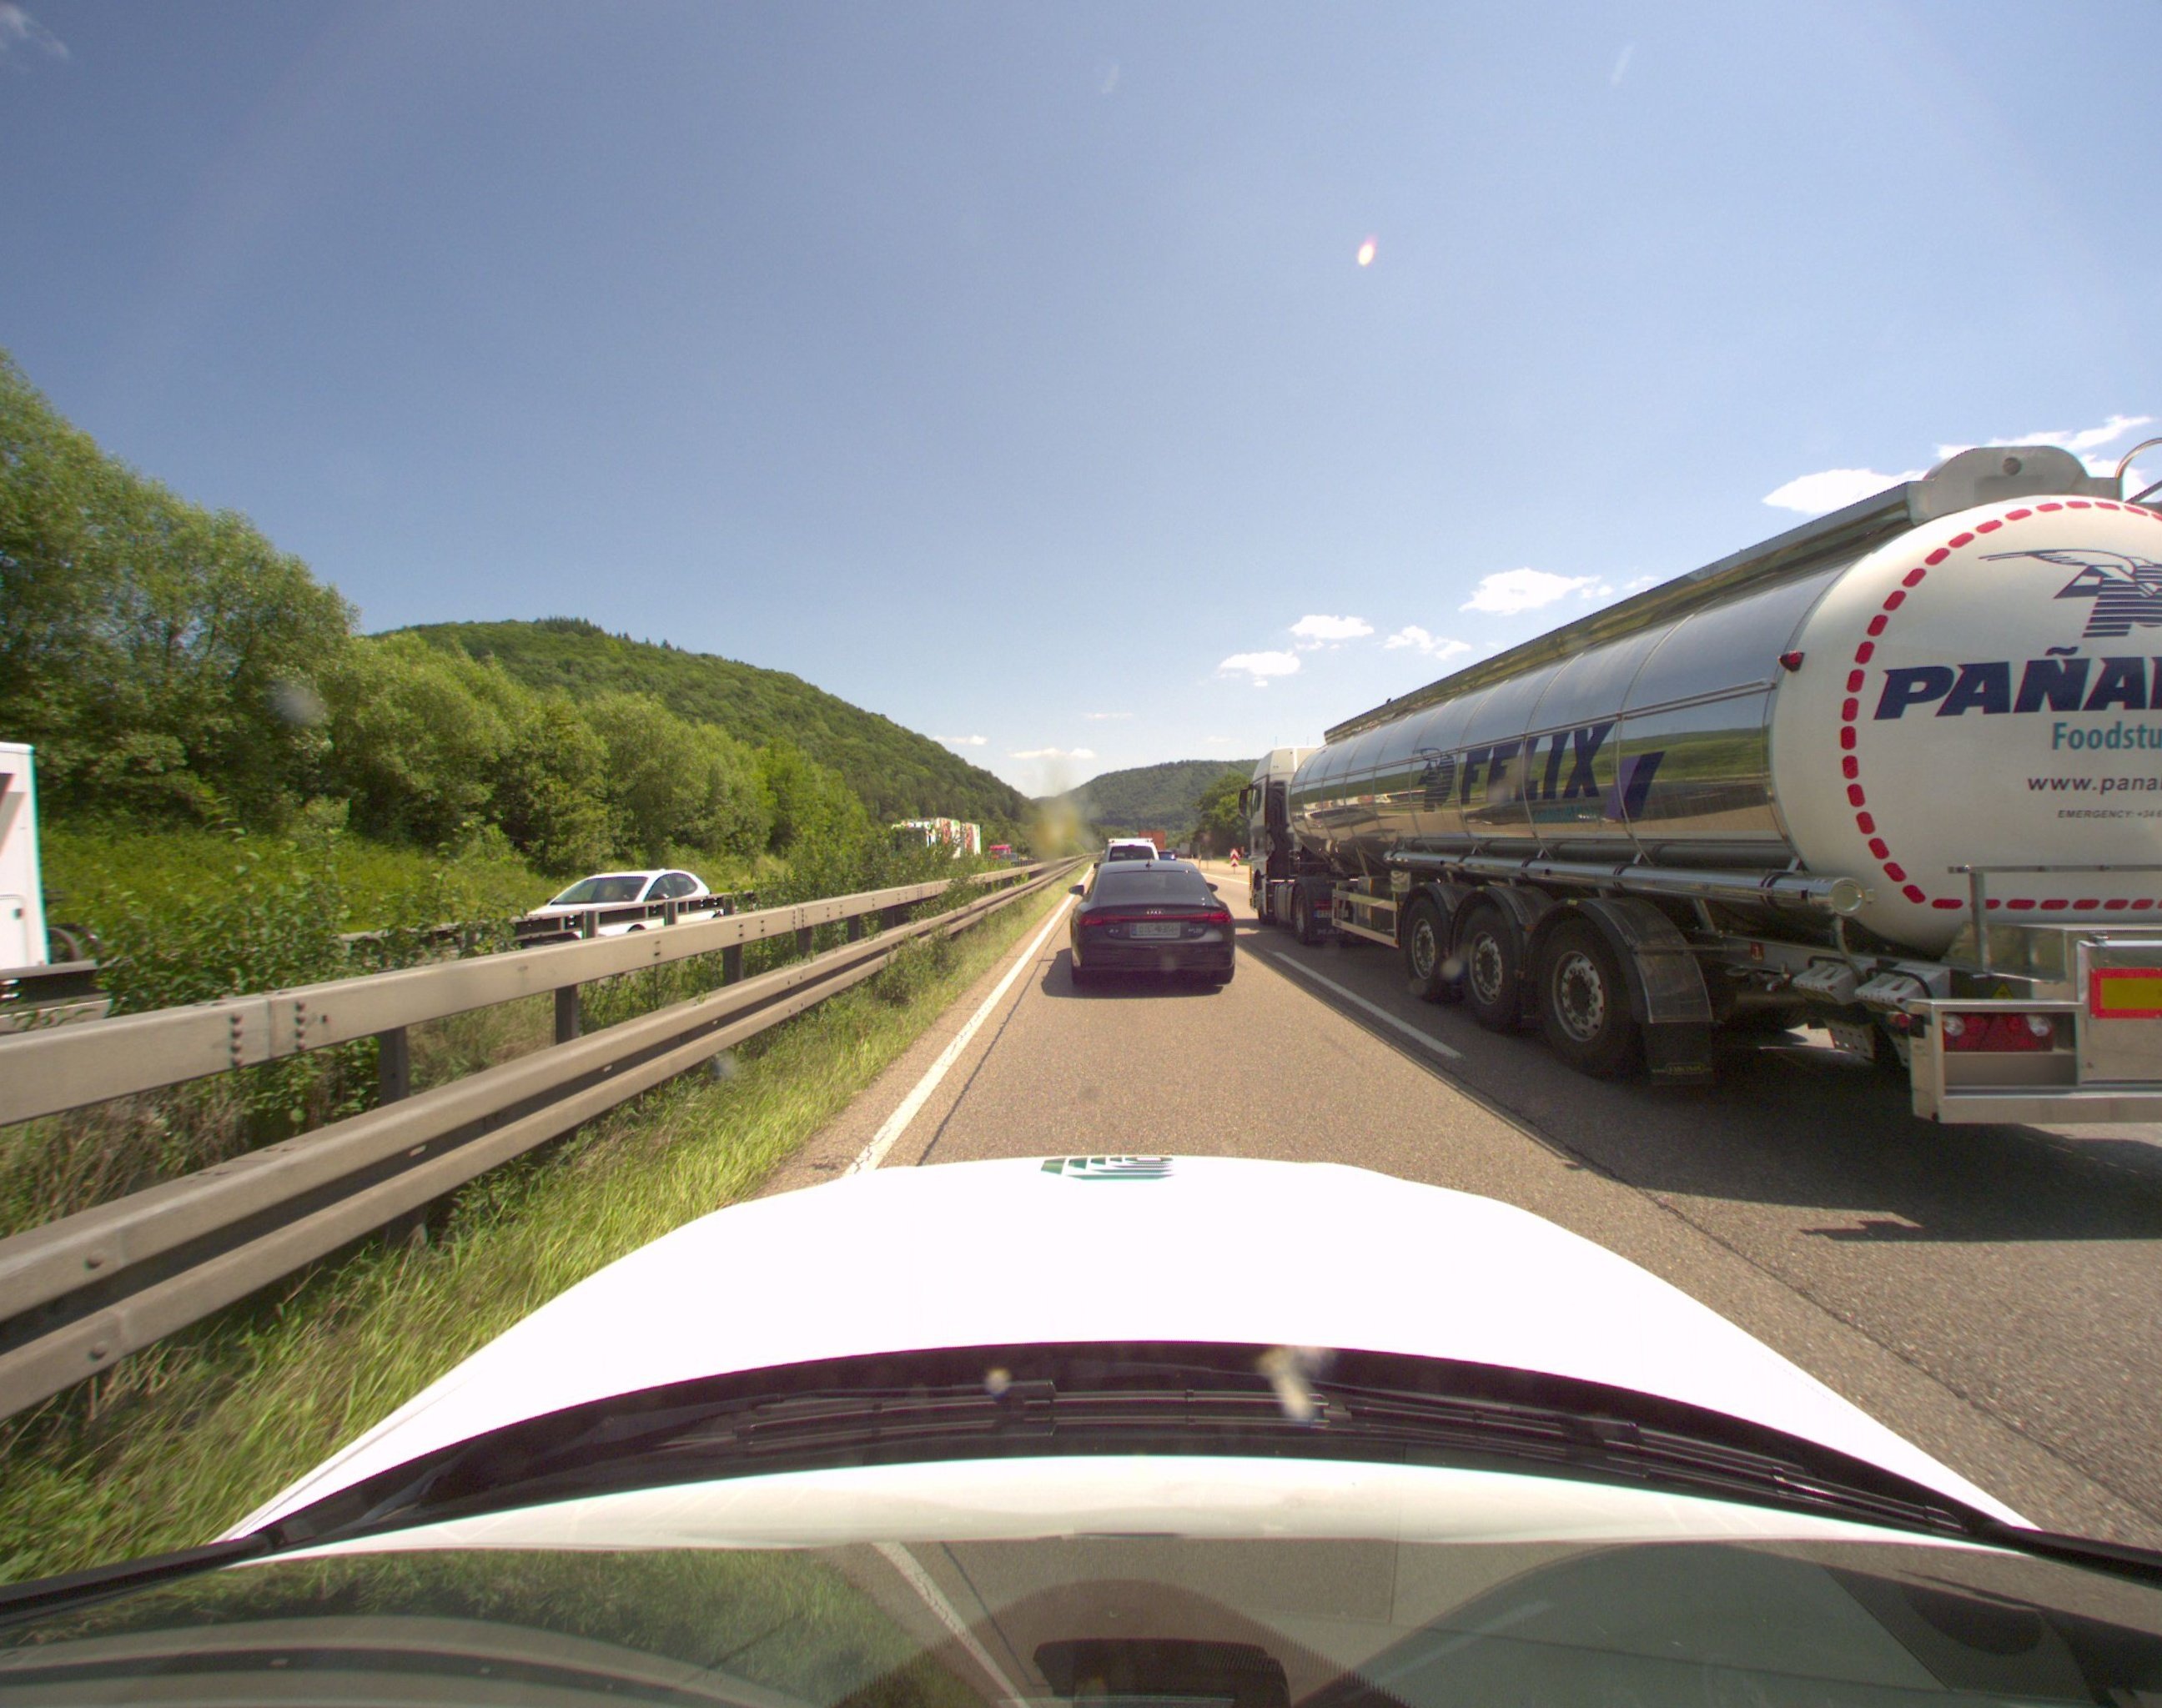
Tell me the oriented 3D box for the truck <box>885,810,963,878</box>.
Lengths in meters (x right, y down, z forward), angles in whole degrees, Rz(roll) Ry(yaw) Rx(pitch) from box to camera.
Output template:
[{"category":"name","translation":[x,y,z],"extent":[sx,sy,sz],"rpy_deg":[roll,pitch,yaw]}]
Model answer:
[{"category":"truck","translation":[-10.028,-0.619,53.260],"extent":[2.859,4.006,10.174],"rpy_deg":[-1,0,1]}]

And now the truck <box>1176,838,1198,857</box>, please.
[{"category":"truck","translation":[26.793,-1.652,204.914],"extent":[3.766,4.414,15.013],"rpy_deg":[-2,0,14]}]

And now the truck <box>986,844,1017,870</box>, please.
[{"category":"truck","translation":[-8.428,0.275,87.202],"extent":[2.287,2.588,7.970],"rpy_deg":[-1,0,1]}]

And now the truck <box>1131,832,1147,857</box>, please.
[{"category":"truck","translation":[8.569,-1.365,120.882],"extent":[1.986,3.447,11.817],"rpy_deg":[-1,0,2]}]

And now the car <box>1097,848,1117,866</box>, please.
[{"category":"car","translation":[2.484,0.250,77.399],"extent":[1.705,1.618,4.003],"rpy_deg":[-2,0,3]}]

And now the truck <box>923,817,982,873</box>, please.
[{"category":"truck","translation":[-9.747,-0.664,62.908],"extent":[2.859,3.980,9.034],"rpy_deg":[-1,0,1]}]

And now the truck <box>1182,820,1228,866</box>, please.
[{"category":"truck","translation":[11.806,-1.000,78.648],"extent":[2.806,4.003,14.965],"rpy_deg":[-1,0,3]}]

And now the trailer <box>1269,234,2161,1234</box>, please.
[{"category":"trailer","translation":[4.599,-0.488,8.991],"extent":[2.529,3.735,11.894],"rpy_deg":[-1,0,1]}]

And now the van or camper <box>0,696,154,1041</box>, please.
[{"category":"van or camper","translation":[-11.784,0.173,5.306],"extent":[2.581,3.335,7.649],"rpy_deg":[-2,0,1]}]

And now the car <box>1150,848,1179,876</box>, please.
[{"category":"car","translation":[6.358,0.609,62.396],"extent":[1.985,2.002,4.003],"rpy_deg":[-2,0,3]}]

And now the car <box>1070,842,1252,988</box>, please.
[{"category":"car","translation":[0.810,0.620,10.495],"extent":[1.844,1.488,4.080],"rpy_deg":[-1,0,-1]}]

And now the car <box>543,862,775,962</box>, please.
[{"category":"car","translation":[-7.414,0.926,14.939],"extent":[1.791,1.464,4.537],"rpy_deg":[-1,0,1]}]

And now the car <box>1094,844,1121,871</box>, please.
[{"category":"car","translation":[2.090,0.274,63.671],"extent":[1.986,2.013,4.001],"rpy_deg":[-2,0,1]}]

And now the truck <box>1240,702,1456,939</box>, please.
[{"category":"truck","translation":[4.766,-0.549,15.606],"extent":[2.502,3.758,5.247],"rpy_deg":[-1,0,1]}]

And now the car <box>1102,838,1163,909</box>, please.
[{"category":"car","translation":[1.405,0.504,23.138],"extent":[1.570,1.833,4.002],"rpy_deg":[-1,0,2]}]

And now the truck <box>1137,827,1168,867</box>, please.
[{"category":"truck","translation":[7.813,-0.767,91.019],"extent":[2.806,4.003,14.965],"rpy_deg":[-1,0,3]}]

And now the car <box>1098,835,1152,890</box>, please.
[{"category":"car","translation":[1.688,0.300,32.151],"extent":[1.986,2.013,4.002],"rpy_deg":[-1,0,2]}]

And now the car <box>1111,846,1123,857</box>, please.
[{"category":"car","translation":[5.389,-0.327,122.669],"extent":[1.705,1.618,4.003],"rpy_deg":[-2,0,3]}]

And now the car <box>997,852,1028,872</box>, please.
[{"category":"car","translation":[-5.683,0.635,68.423],"extent":[1.986,1.641,5.034],"rpy_deg":[-1,0,2]}]
